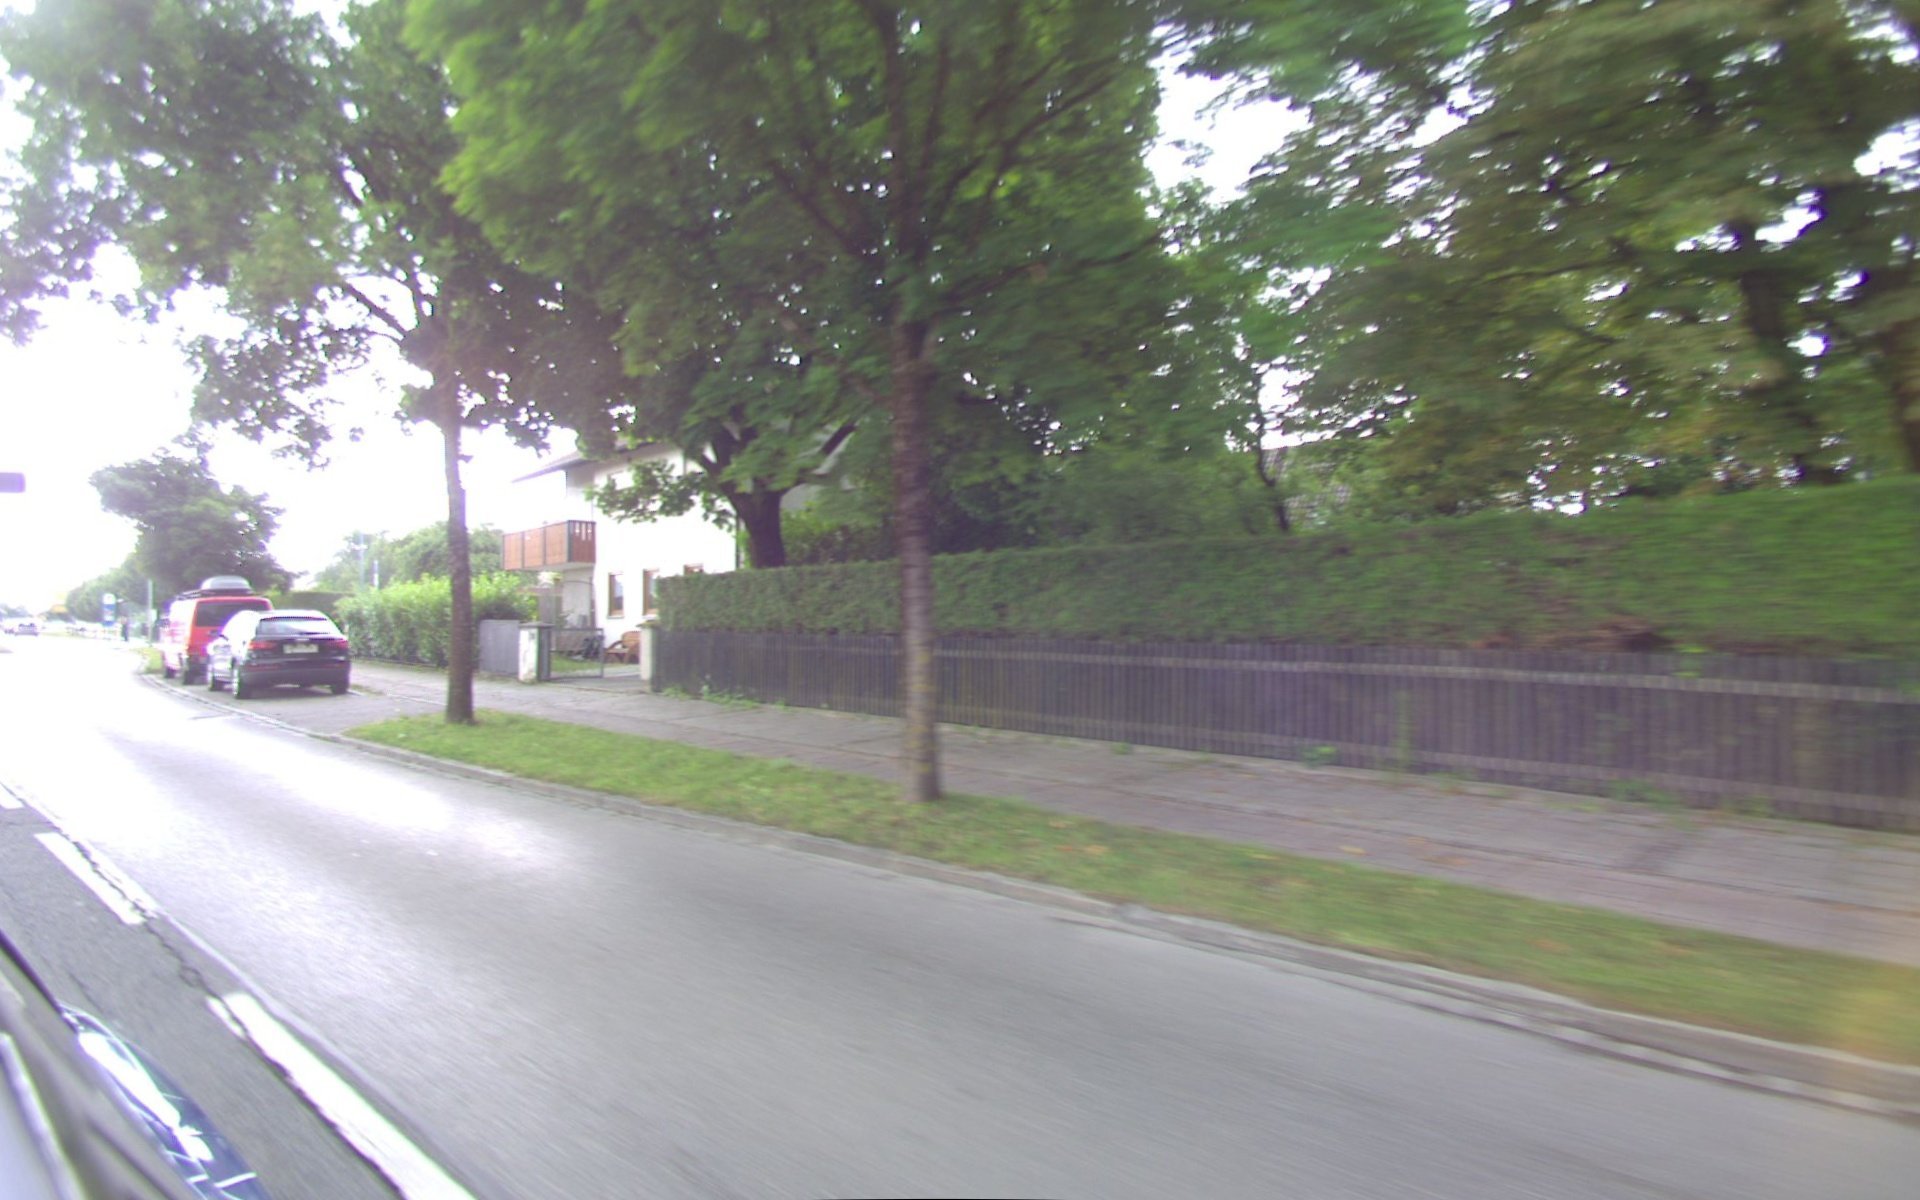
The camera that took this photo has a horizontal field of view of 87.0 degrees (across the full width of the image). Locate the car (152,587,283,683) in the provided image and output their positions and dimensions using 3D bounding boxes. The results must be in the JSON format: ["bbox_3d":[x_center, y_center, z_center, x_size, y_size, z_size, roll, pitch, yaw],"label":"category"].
[{"bbox_3d":[-17.623,0.802,23.913,1.809,2.046,5.049,1,-2,-44],"label":"car"}]

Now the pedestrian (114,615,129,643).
[{"bbox_3d":[-50.428,1.743,60.877,0.813,1.649,0.581,-2,-2,44],"label":"pedestrian"}]

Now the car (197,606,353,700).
[{"bbox_3d":[-13.334,0.970,19.591,1.751,1.610,4.240,-1,-1,-44],"label":"car"}]

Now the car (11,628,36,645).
[{"bbox_3d":[-89.043,3.497,96.220,1.686,1.544,3.511,3,-3,-43],"label":"car"}]
